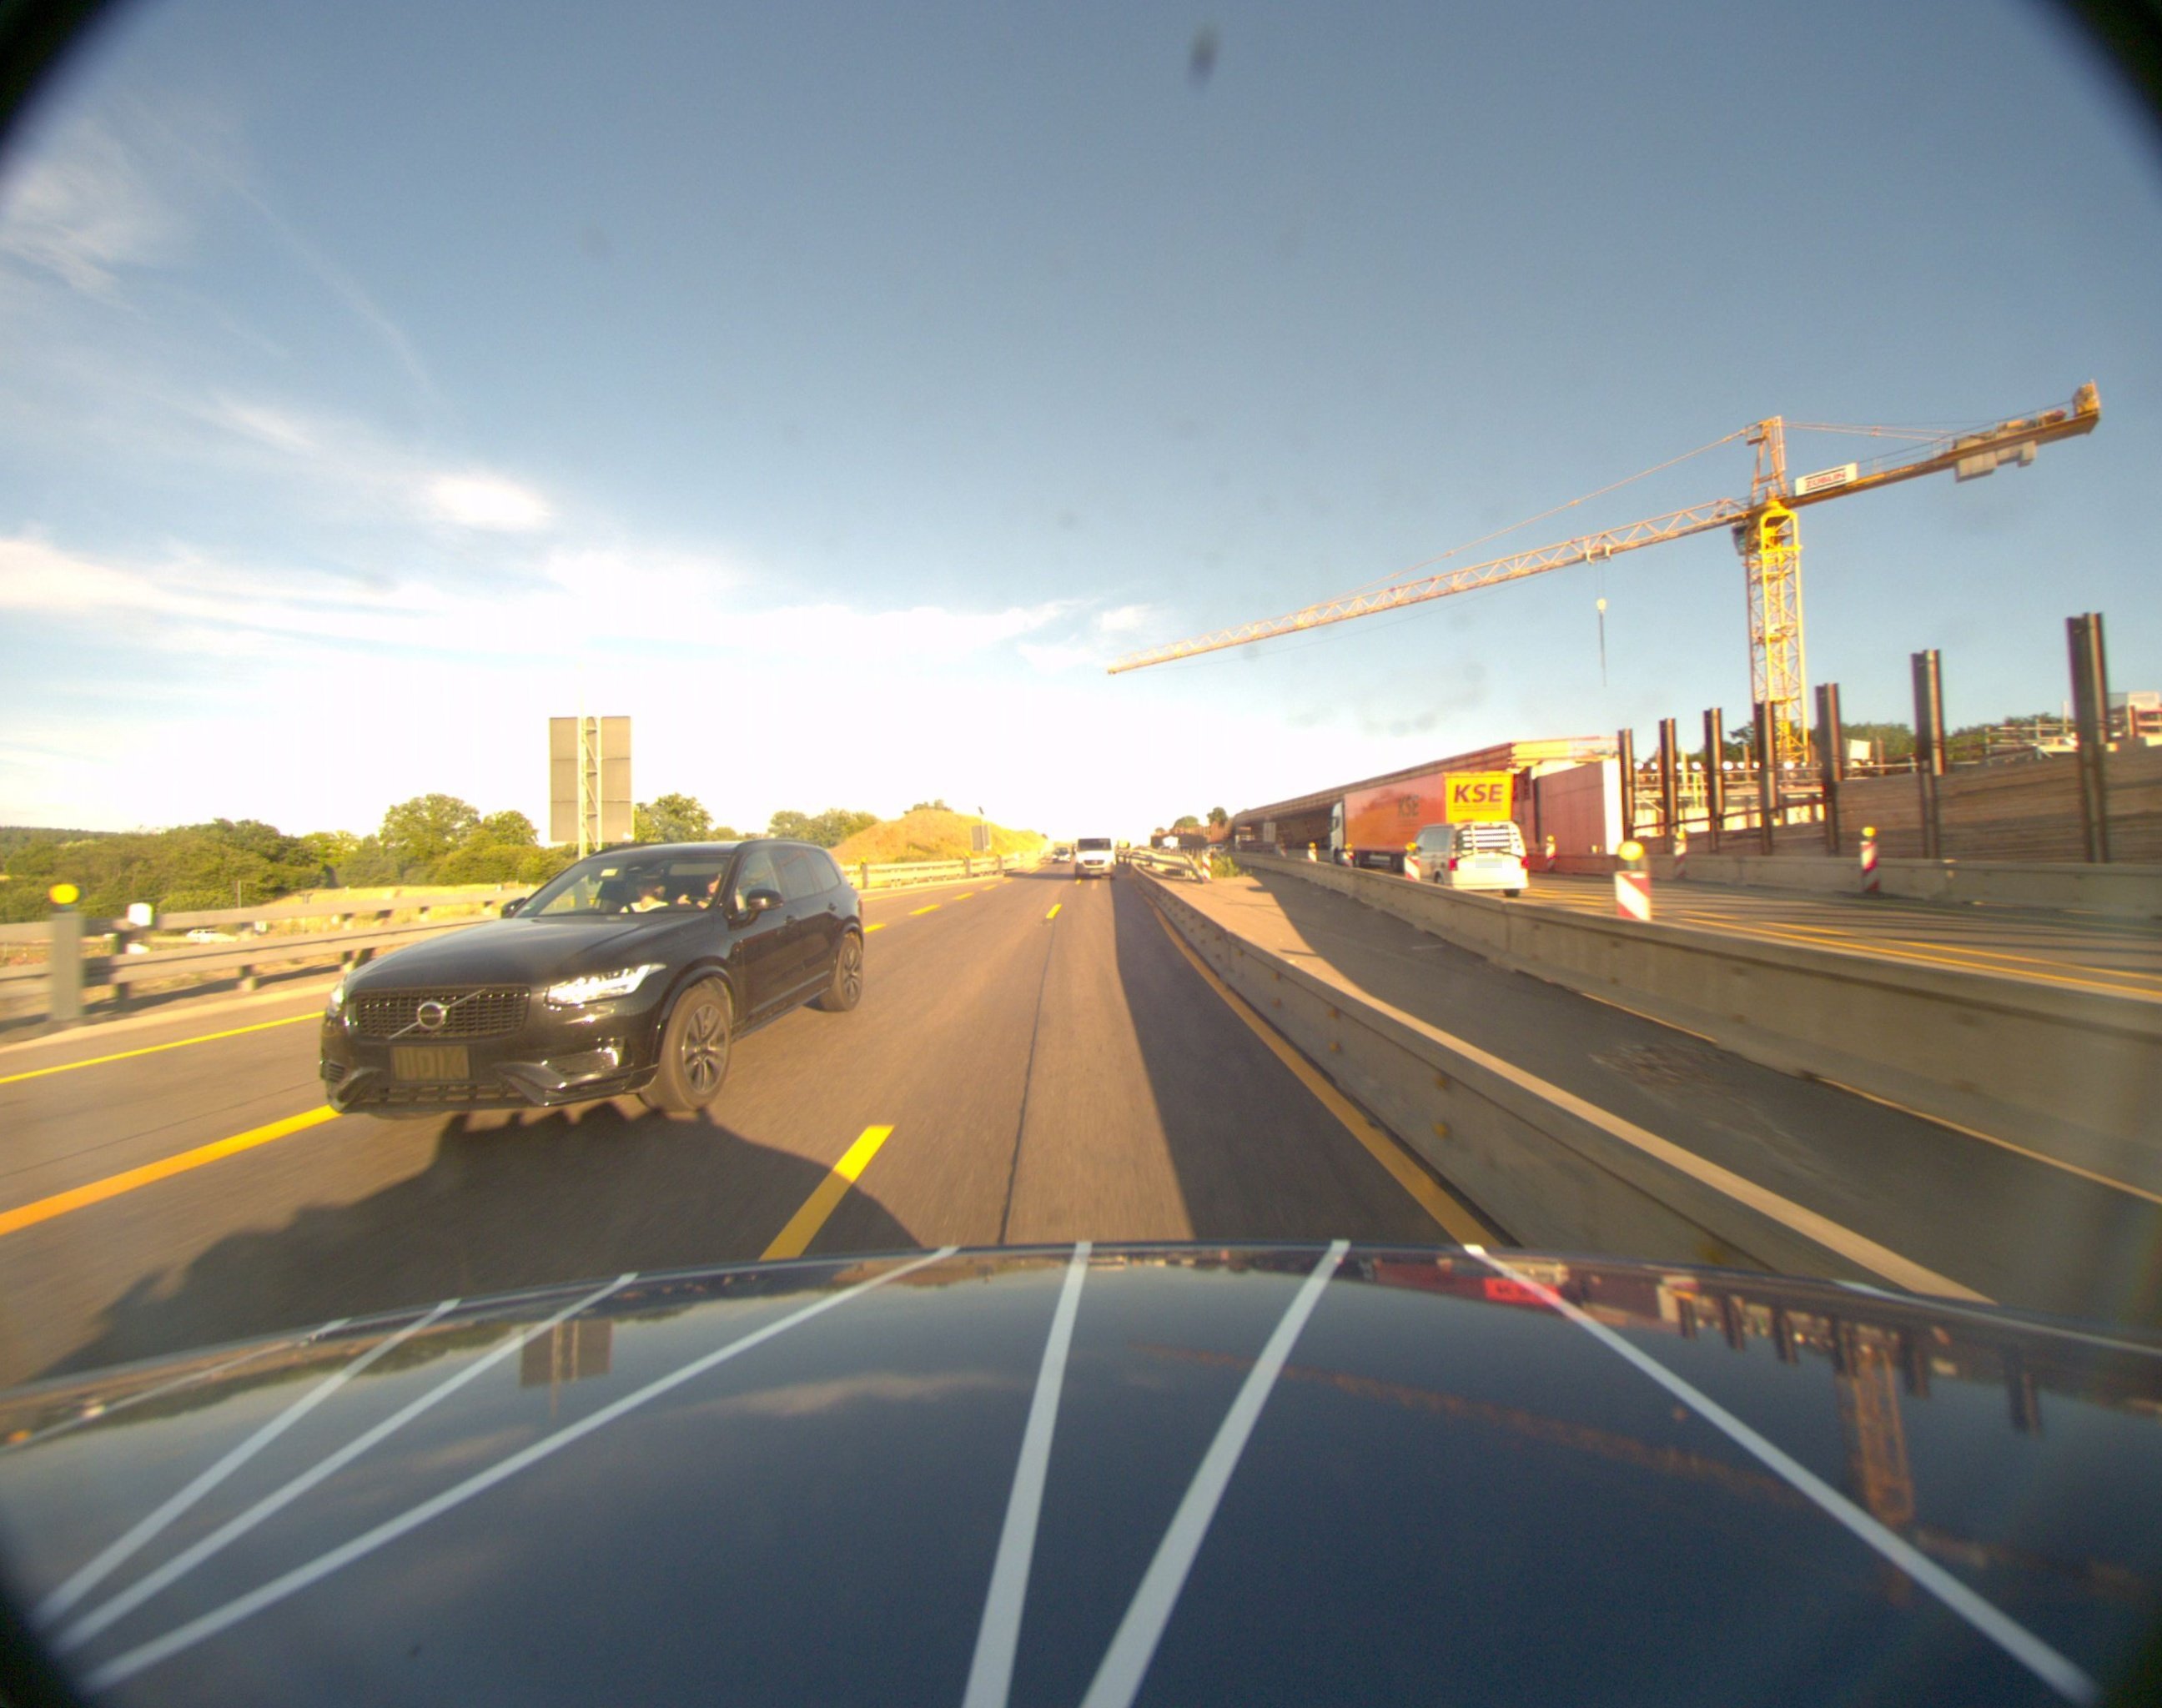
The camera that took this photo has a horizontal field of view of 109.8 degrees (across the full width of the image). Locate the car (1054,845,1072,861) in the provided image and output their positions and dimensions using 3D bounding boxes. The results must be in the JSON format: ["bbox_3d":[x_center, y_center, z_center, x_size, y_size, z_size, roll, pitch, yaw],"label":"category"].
[{"bbox_3d":[-1.881,-0.137,78.855,1.791,1.477,3.999,-2,1,-1],"label":"car"}]

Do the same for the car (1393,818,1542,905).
[{"bbox_3d":[10.259,0.153,20.679,1.997,2.002,5.259,-3,1,9],"label":"car"}]

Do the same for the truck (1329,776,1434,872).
[{"bbox_3d":[15.758,-1.483,40.595,2.590,4.445,8.333,-3,1,4],"label":"truck"}]

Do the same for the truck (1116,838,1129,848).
[{"bbox_3d":[13.883,-3.661,254.028,3.344,3.224,10.970,-2,1,-1],"label":"truck"}]

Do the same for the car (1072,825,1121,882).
[{"bbox_3d":[0.711,-0.059,36.981,2.110,2.518,5.219,-2,1,0],"label":"car"}]

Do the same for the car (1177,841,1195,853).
[{"bbox_3d":[13.278,-0.893,96.028,1.665,1.383,4.000,-6,1,2],"label":"car"}]

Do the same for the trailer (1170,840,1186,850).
[{"bbox_3d":[16.075,-1.526,125.775,2.328,1.504,2.144,-2,1,-3],"label":"trailer"}]

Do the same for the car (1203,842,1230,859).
[{"bbox_3d":[13.495,-0.376,75.748,1.734,1.591,4.660,-2,1,0],"label":"car"}]

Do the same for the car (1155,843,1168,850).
[{"bbox_3d":[14.035,-1.333,133.095,1.734,1.270,4.112,-2,1,-1],"label":"car"}]

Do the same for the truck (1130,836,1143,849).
[{"bbox_3d":[14.633,-3.129,200.076,2.774,3.224,7.161,-2,1,-1],"label":"truck"}]

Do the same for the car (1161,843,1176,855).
[{"bbox_3d":[13.047,-0.775,113.640,1.734,1.591,4.112,-2,1,-1],"label":"car"}]

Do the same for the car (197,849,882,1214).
[{"bbox_3d":[-3.289,0.862,6.160,1.902,1.703,4.887,-2,1,1],"label":"car"}]

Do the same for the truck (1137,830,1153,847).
[{"bbox_3d":[14.640,-3.460,173.753,2.796,3.704,7.161,-2,1,-1],"label":"truck"}]

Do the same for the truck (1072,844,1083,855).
[{"bbox_3d":[-0.840,-0.991,160.943,1.999,2.109,7.560,-3,0,-2],"label":"truck"}]

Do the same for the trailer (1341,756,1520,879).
[{"bbox_3d":[15.407,-1.431,35.337,2.589,4.445,14.138,-3,1,4],"label":"trailer"}]

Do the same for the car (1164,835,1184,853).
[{"bbox_3d":[15.853,-1.677,129.944,2.334,2.950,6.160,-2,1,-2],"label":"car"}]
